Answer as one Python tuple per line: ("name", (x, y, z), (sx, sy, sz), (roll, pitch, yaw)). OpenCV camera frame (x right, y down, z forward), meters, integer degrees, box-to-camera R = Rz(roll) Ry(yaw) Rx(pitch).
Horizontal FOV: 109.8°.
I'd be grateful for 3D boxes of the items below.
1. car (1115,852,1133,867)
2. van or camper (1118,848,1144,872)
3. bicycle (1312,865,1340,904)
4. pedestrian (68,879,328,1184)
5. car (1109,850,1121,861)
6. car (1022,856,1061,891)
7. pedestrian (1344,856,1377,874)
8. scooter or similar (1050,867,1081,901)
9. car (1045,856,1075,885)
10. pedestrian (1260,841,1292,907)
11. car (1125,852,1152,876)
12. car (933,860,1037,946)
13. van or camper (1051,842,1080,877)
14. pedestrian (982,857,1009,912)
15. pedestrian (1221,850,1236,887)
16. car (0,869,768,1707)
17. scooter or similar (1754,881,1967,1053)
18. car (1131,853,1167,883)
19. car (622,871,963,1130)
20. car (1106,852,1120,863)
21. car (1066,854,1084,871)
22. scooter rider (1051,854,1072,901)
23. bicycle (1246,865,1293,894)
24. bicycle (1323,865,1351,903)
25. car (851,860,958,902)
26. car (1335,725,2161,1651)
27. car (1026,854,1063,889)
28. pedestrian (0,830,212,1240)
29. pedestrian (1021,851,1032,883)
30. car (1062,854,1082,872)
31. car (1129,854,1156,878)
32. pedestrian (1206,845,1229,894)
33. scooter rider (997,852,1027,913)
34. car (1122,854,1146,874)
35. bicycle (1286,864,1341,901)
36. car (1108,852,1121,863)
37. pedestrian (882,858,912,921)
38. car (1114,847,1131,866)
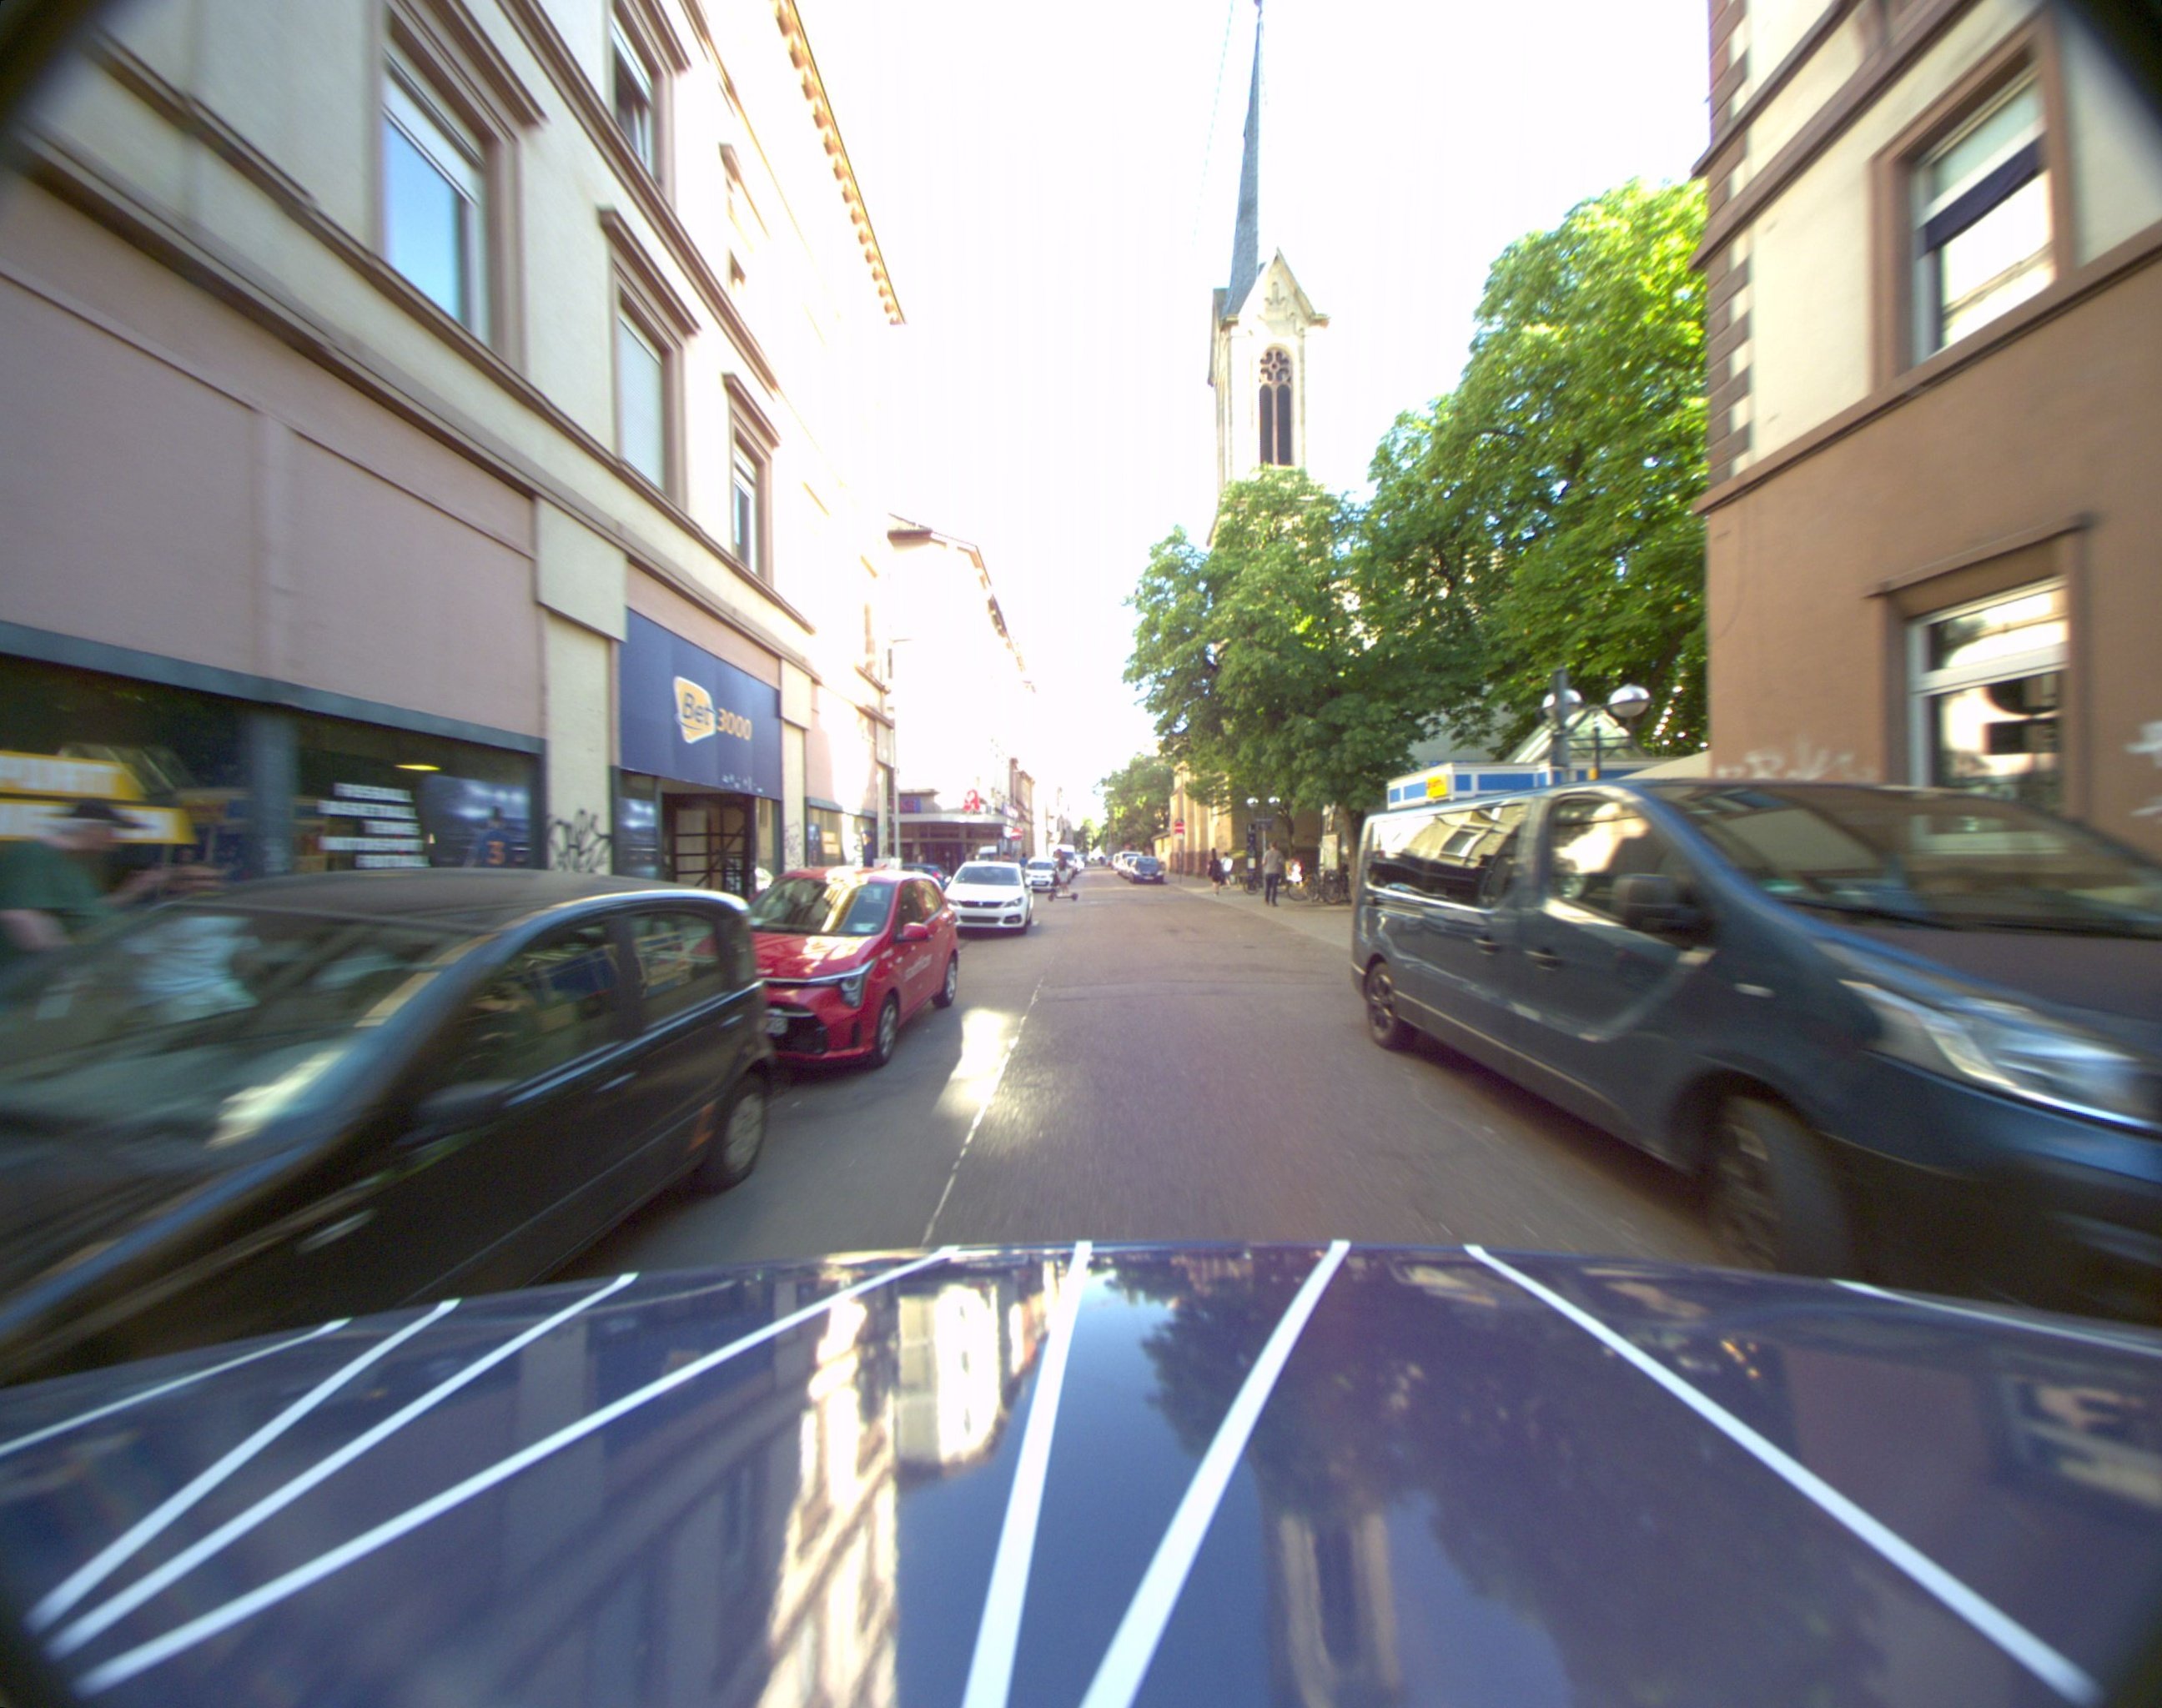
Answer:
("car", (4.599, 0.625, 81.721), (1.696, 1.529, 3.813), (-1, 0, 1))
("van or camper", (4.276, 0.476, 65.313), (1.984, 1.939, 4.563), (-1, 0, 1))
("bicycle", (7.049, 0.855, 21.915), (0.293, 1.076, 1.579), (-2, 0, 1))
("pedestrian", (-4.861, 0.924, 4.239), (0.589, 1.521, 0.658), (-2, 1, -4))
("car", (5.416, 0.254, 121.388), (1.777, 1.614, 4.022), (-1, 0, 0))
("car", (-1.809, 0.870, 35.547), (1.694, 1.454, 3.639), (-2, 1, -2))
("pedestrian", (12.674, 0.487, 34.509), (0.959, 0.756, 1.406), (-2, 1, 1))
("scooter or similar", (-0.550, 1.080, 27.251), (1.057, 1.153, 0.514), (-2, 1, 0))
("car", (-1.233, 0.969, 45.843), (1.558, 1.518, 4.200), (-2, 1, 1))
("pedestrian", (5.522, 0.559, 21.519), (0.648, 1.823, 0.697), (-3, 1, 1))
("car", (4.081, 0.704, 54.070), (1.724, 1.558, 4.000), (-2, 1, 2))
("car", (-1.966, 0.967, 16.730), (1.791, 1.507, 4.135), (-2, 1, -1))
("van or camper", (-1.173, 0.361, 61.553), (1.998, 2.617, 5.979), (-2, 1, 1))
("pedestrian", (-2.592, 0.918, 23.005), (0.566, 1.629, 0.527), (-3, 2, -45))
("pedestrian", (6.534, 0.646, 33.688), (0.480, 1.584, 0.714), (-2, 1, -2))
("car", (-2.477, 0.901, 2.232), (1.573, 1.548, 3.314), (2, 1, 3))
("scooter or similar", (6.387, 0.862, 6.319), (0.348, 1.209, 1.392), (-2, 0, 1))
("car", (3.887, 0.770, 44.102), (1.798, 1.543, 3.834), (-2, 1, 2))
("car", (-2.203, 1.026, 6.858), (1.610, 1.563, 3.553), (-2, 1, 1))
("car", (4.653, 0.506, 110.894), (1.777, 1.614, 4.022), (-1, 0, 0))
("car", (-0.584, 0.798, 75.816), (1.696, 1.615, 3.963), (-1, 0, 1))
("scooter rider", (-0.695, 0.845, 27.281), (0.689, 1.638, 0.720), (-2, 1, 0))
("bicycle", (7.291, 0.973, 29.439), (1.694, 1.059, 0.346), (-2, 1, -1))
("bicycle", (7.363, 0.846, 21.902), (0.293, 1.040, 1.579), (-2, -1, 1))
("car", (-6.641, 1.006, 28.852), (3.582, 1.477, 1.789), (-1, 1, 1))
("car", (3.200, 0.645, 4.136), (2.025, 1.868, 5.297), (-2, 0, 3))
("car", (-1.880, 0.874, 40.432), (1.704, 1.641, 4.063), (-2, 1, 0))
("pedestrian", (-4.754, 0.773, 3.512), (0.630, 1.730, 0.658), (-2, 1, -12))
("pedestrian", (-3.307, 0.786, 45.829), (0.563, 1.883, 0.530), (-2, 1, 1))
("car", (-0.801, 0.830, 70.520), (1.696, 1.615, 3.813), (-1, 0, 1))
("car", (3.950, 0.758, 49.164), (1.576, 1.356, 4.146), (-2, 1, 3))
("pedestrian", (5.298, 0.598, 29.580), (0.718, 1.862, 0.720), (-2, 1, 1))
("scooter rider", (-2.058, 0.846, 22.729), (0.610, 1.768, 0.566), (-1, 2, 41))
("car", (4.113, 0.748, 59.488), (1.696, 1.472, 3.736), (-1, 0, 1))
("bicycle", (7.261, 0.894, 23.785), (1.576, 1.076, 0.347), (-2, 1, 12))
("car", (5.022, 0.489, 115.544), (1.777, 1.614, 4.022), (-1, 0, 0))
("pedestrian", (-4.872, 0.936, 20.114), (0.599, 1.640, 0.466), (-1, -2, 32))
("car", (4.682, 0.268, 86.907), (1.777, 2.128, 4.023), (-1, 0, 1))
